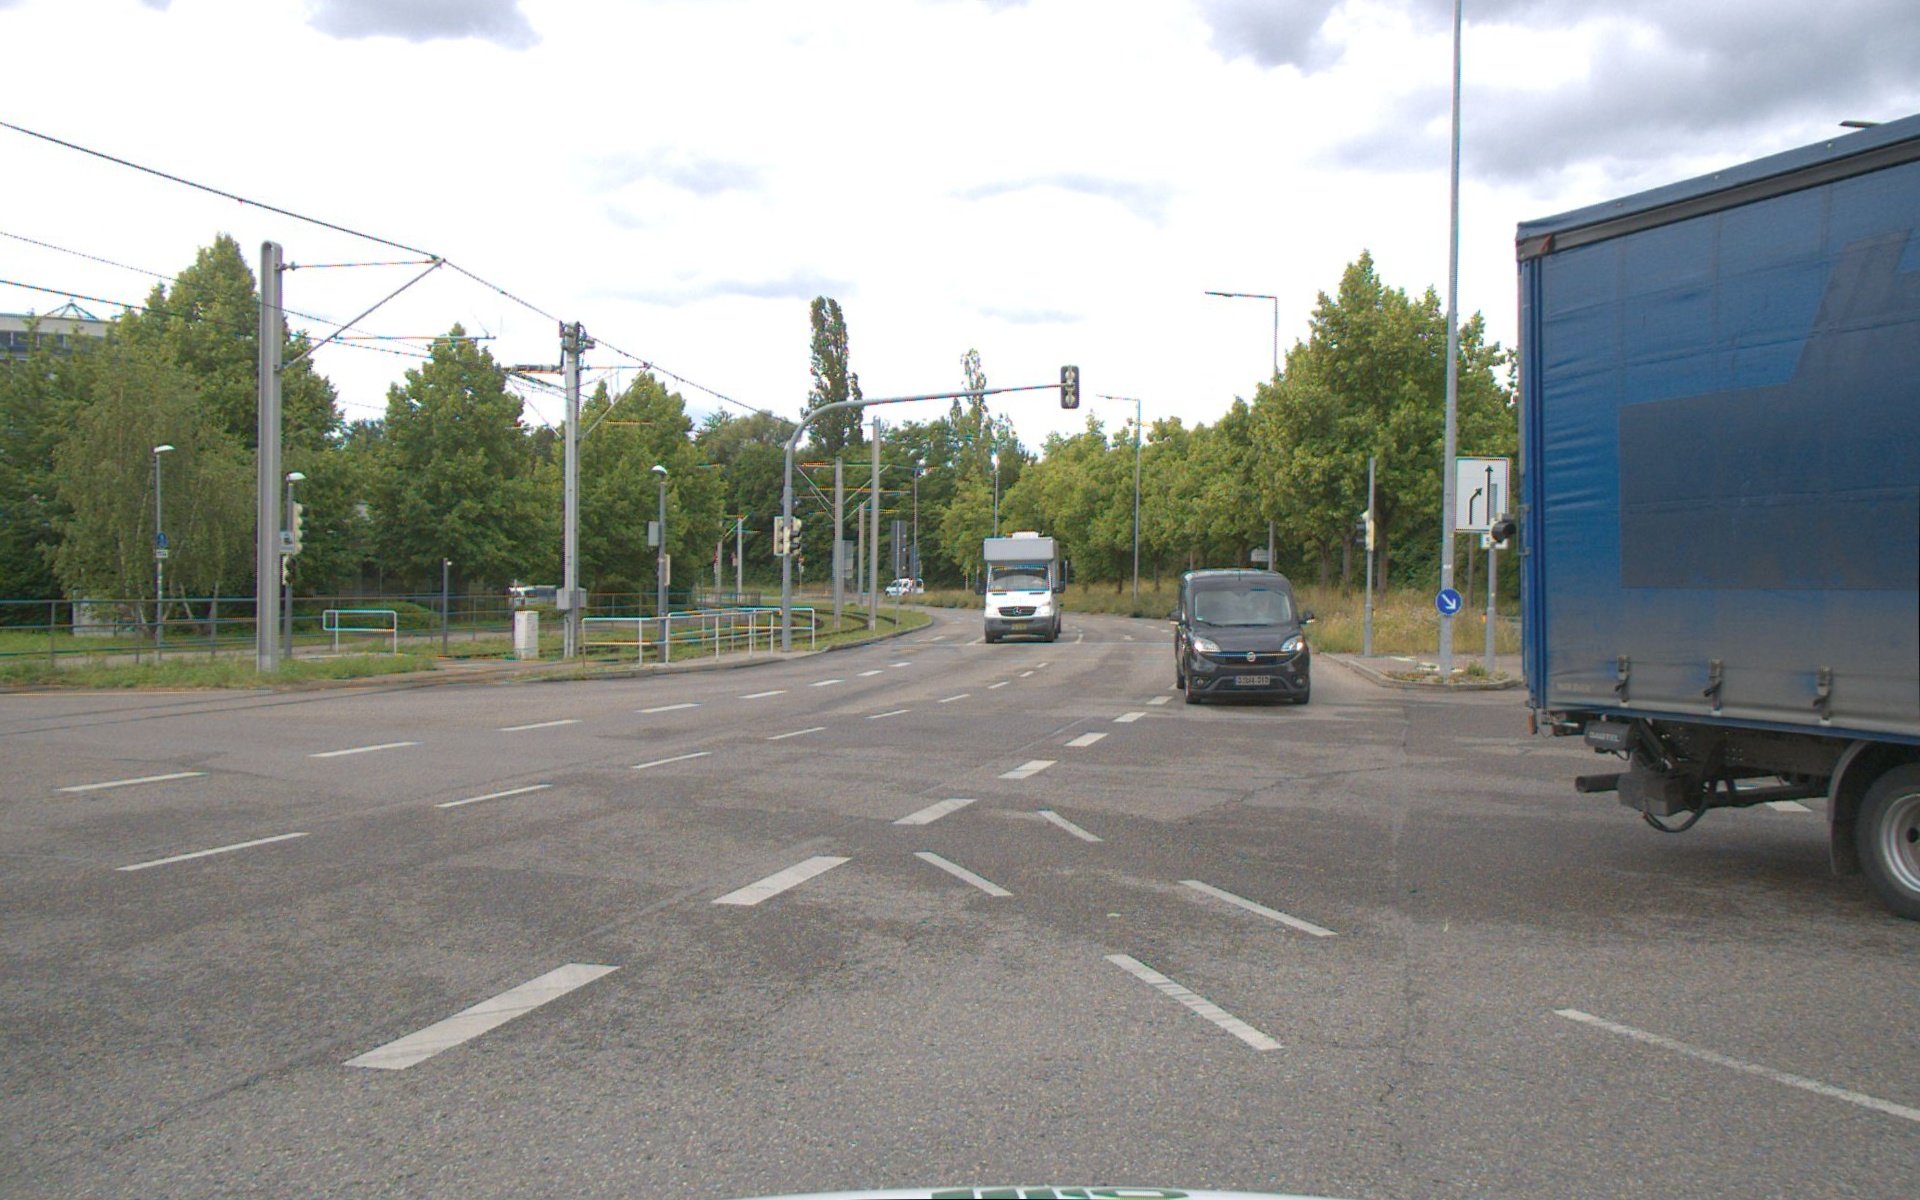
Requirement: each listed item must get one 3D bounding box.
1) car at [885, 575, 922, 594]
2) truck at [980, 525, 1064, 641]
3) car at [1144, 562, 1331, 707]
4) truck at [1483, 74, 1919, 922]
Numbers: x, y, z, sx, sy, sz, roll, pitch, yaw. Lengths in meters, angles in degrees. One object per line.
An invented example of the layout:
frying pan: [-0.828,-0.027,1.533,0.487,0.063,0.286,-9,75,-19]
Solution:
car: [-5.259,-1.468,153.279,1.971,1.758,3.692,-1,1,-28]
truck: [1.876,-0.482,48.332,2.060,3.063,6.277,-3,0,4]
car: [3.964,0.440,24.450,1.953,1.909,4.891,0,0,0]
truck: [6.070,-0.467,7.012,2.740,3.870,8.334,0,1,-22]
